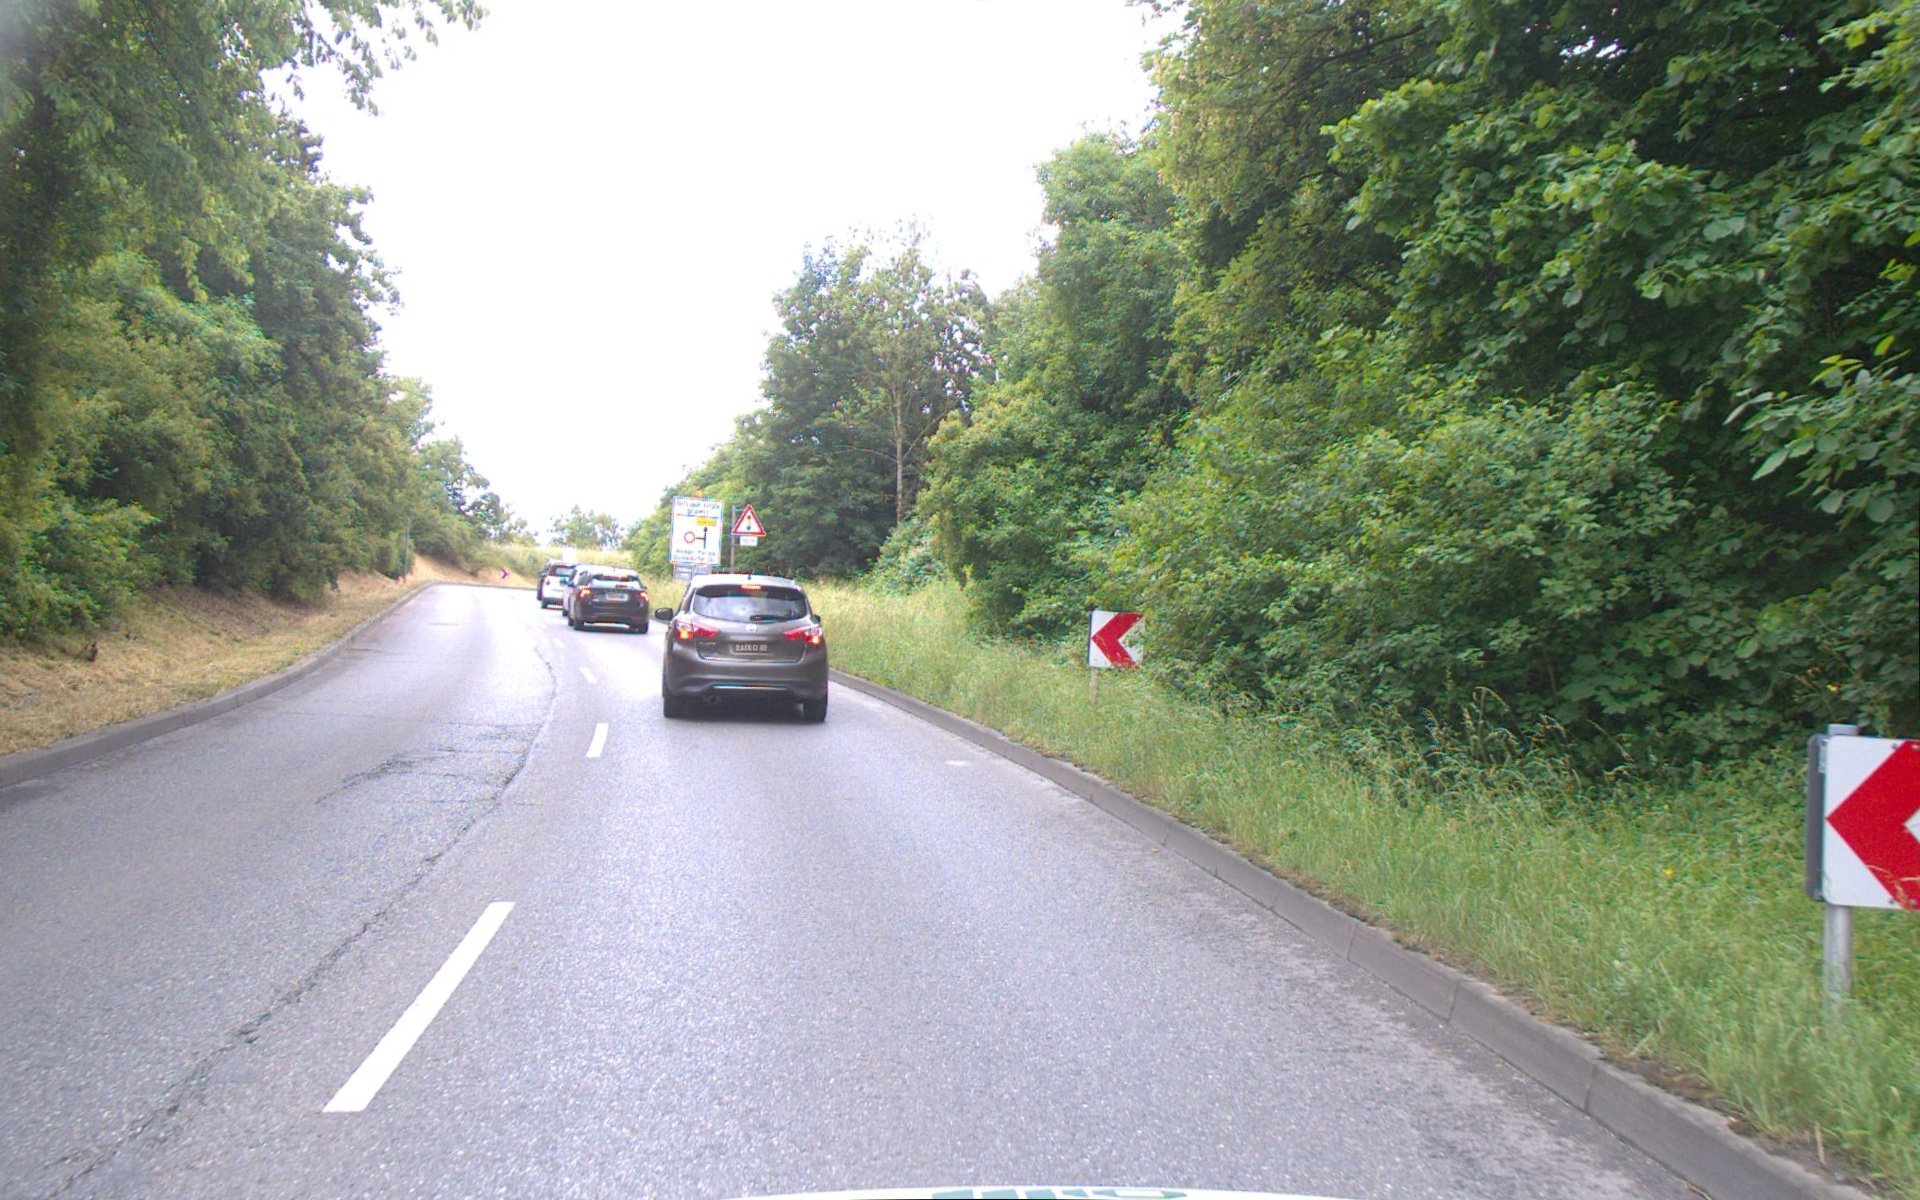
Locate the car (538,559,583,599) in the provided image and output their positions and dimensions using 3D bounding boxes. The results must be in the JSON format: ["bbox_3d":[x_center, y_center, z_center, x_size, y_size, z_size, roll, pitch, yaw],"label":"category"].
[{"bbox_3d":[-16.580,-0.890,68.605,1.707,1.553,3.530,1,1,-15],"label":"car"}]

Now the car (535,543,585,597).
[{"bbox_3d":[-15.311,-1.160,63.284,1.707,1.968,3.529,1,1,-16],"label":"car"}]

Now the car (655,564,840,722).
[{"bbox_3d":[-2.486,0.417,18.665,1.798,1.583,3.489,1,1,-12],"label":"car"}]

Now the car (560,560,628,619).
[{"bbox_3d":[-10.591,-0.331,47.672,1.707,1.583,3.529,1,1,-16],"label":"car"}]

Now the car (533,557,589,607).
[{"bbox_3d":[-13.541,-0.631,55.971,1.707,1.583,3.529,1,1,-16],"label":"car"}]

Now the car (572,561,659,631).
[{"bbox_3d":[-8.344,-0.134,39.835,1.800,1.583,3.610,1,1,-16],"label":"car"}]
